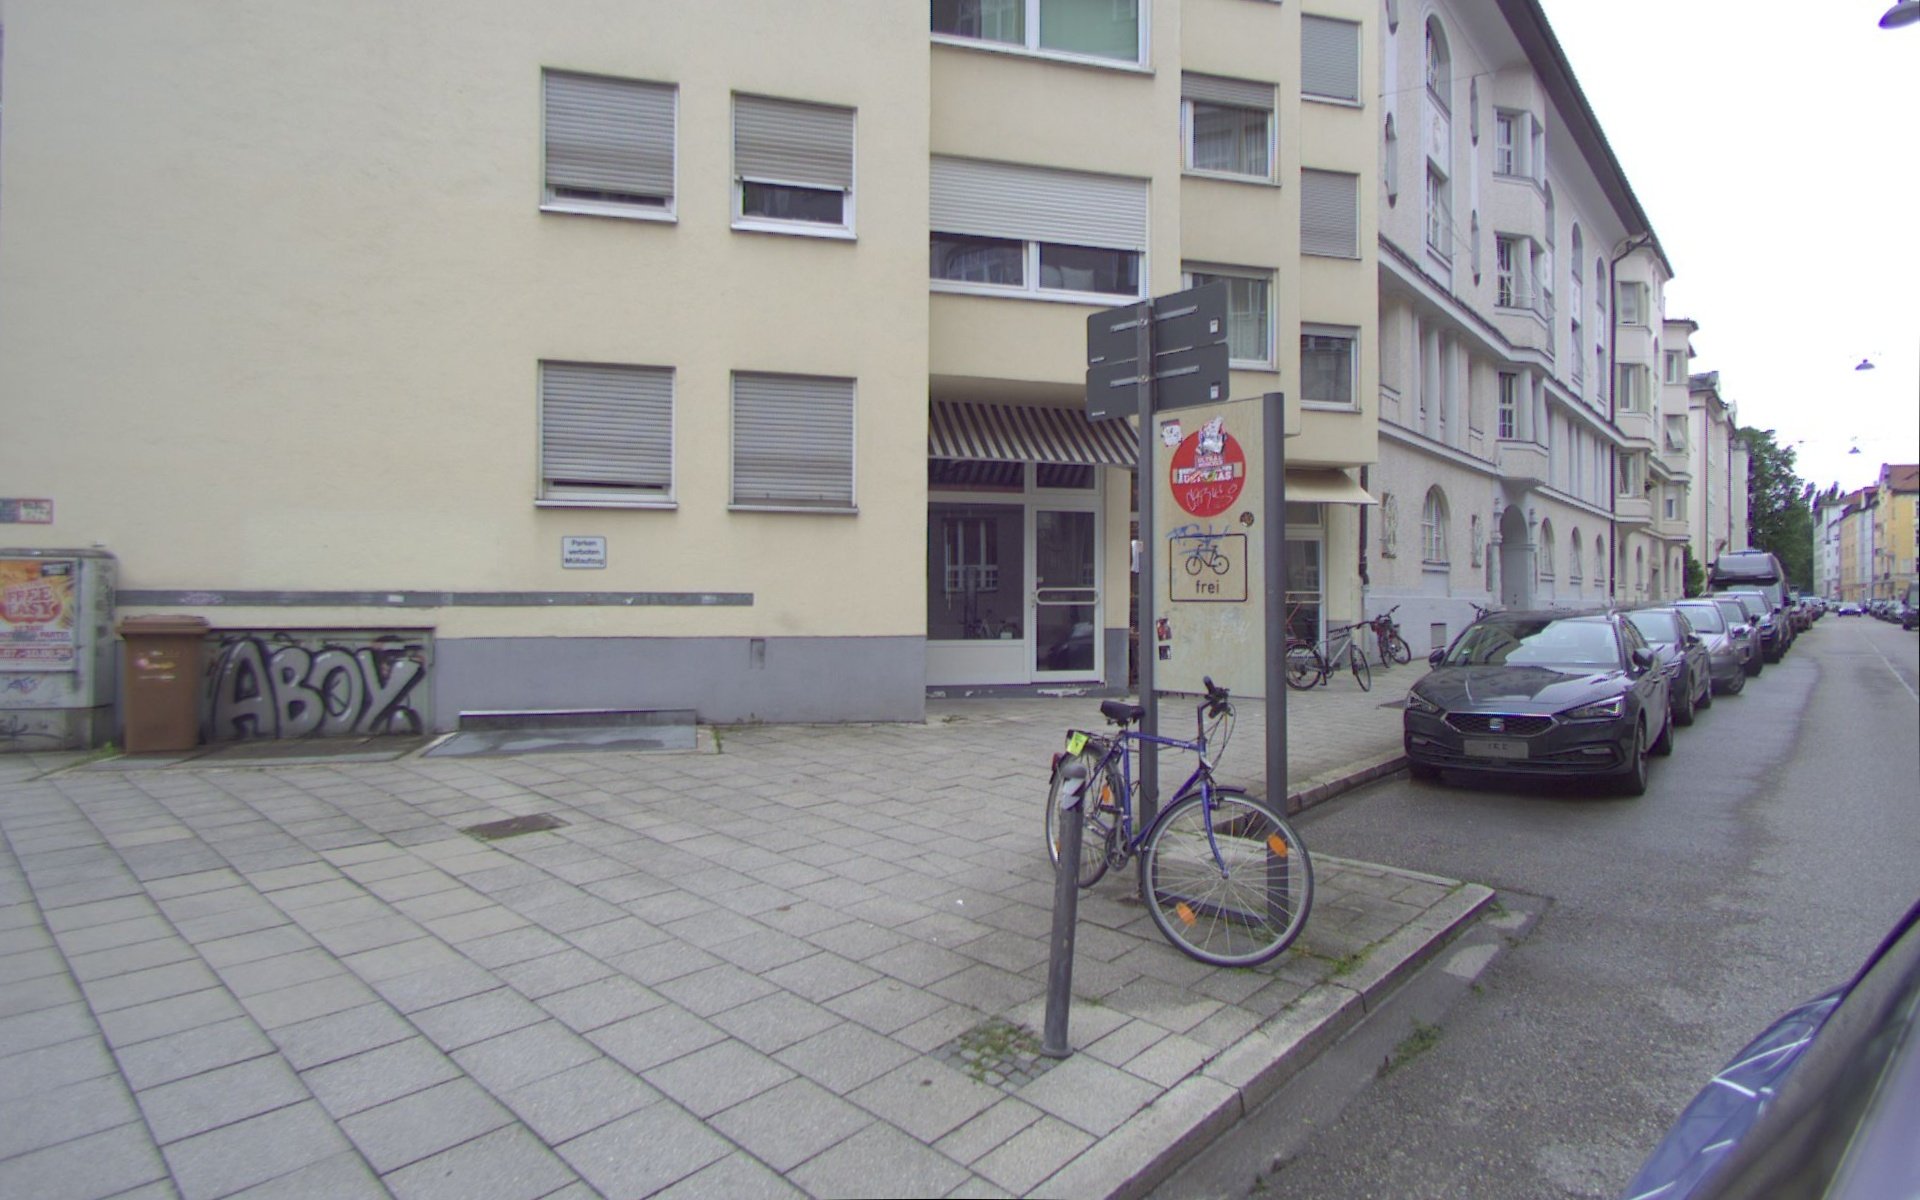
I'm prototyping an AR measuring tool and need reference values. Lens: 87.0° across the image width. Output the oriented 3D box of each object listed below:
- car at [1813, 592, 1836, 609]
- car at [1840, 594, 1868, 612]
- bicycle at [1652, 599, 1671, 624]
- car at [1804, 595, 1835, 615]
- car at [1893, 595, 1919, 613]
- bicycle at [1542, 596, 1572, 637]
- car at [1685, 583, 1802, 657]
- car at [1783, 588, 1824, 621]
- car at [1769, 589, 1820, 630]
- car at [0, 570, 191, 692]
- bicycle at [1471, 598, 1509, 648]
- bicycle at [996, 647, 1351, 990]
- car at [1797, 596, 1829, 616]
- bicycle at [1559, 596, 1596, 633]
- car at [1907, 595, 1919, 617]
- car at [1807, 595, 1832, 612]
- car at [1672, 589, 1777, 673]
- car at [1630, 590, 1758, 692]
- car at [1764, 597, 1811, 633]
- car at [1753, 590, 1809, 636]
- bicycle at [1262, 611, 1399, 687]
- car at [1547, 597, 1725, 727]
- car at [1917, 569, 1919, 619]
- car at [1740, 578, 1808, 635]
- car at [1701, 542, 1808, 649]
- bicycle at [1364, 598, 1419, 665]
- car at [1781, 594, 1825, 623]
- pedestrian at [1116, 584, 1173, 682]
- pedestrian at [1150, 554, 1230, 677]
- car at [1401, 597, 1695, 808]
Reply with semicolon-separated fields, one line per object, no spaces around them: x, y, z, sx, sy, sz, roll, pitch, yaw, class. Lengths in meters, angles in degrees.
87.766;0.019;102.703;1.678;1.702;3.590;0;0;42;car
89.891;0.293;101.811;1.991;1.821;3.942;0;0;40;car
32.814;0.546;47.347;0.492;1.131;1.938;-1;0;41;bicycle
64.348;0.363;75.770;1.678;1.400;3.590;0;0;42;car
74.533;0.316;79.457;1.677;1.416;3.652;0;0;40;car
17.963;0.482;30.456;0.481;1.165;1.763;3;2;39;bicycle
19.996;0.477;25.759;1.992;1.710;4.603;-2;-1;42;car
47.963;0.235;57.502;1.678;1.800;3.405;0;0;42;car
41.751;0.445;50.629;1.873;1.961;4.595;-2;-1;40;car
-14.135;0.418;15.775;1.817;1.659;4.559;0;0;-15;car
13.011;0.541;24.838;0.480;1.165;1.763;-1;0;39;bicycle
0.833;0.823;4.549;0.652;1.099;1.801;2;0;-21;bicycle
61.217;0.390;72.593;1.678;1.400;3.590;0;0;42;car
19.785;0.450;32.417;1.756;1.165;0.482;0;0;-40;bicycle
64.409;0.409;67.499;1.678;1.416;3.649;0;0;42;car
78.655;0.318;92.568;1.678;1.460;3.590;0;0;42;car
16.198;0.587;21.376;1.631;1.612;3.912;0;0;39;car
12.713;0.619;17.500;1.630;1.556;3.803;0;0;37;car
35.273;0.619;43.125;1.490;1.491;3.453;-2;-1;40;car
30.765;0.461;37.906;1.540;1.646;2.774;0;0;41;car
5.535;0.728;15.153;1.762;1.045;0.755;1;1;-13;bicycle
9.227;0.717;13.694;1.631;1.490;3.800;0;0;39;car
51.779;-0.304;53.095;2.098;2.653;5.591;2;2;42;car
30.874;0.222;38.341;1.794;2.065;4.010;0;0;42;car
24.630;-0.173;31.276;2.252;2.997;6.042;-2;0;41;car
8.411;0.588;19.696;0.562;1.207;1.655;3;2;36;bicycle
45.365;0.431;54.423;1.725;1.485;3.681;0;0;42;car
2.726;0.480;14.965;0.659;1.416;0.534;0;0;-15;pedestrian
3.663;0.229;16.181;0.726;1.870;1.019;3;1;-17;pedestrian
5.717;0.730;9.535;1.690;1.490;4.545;0;0;39;car
